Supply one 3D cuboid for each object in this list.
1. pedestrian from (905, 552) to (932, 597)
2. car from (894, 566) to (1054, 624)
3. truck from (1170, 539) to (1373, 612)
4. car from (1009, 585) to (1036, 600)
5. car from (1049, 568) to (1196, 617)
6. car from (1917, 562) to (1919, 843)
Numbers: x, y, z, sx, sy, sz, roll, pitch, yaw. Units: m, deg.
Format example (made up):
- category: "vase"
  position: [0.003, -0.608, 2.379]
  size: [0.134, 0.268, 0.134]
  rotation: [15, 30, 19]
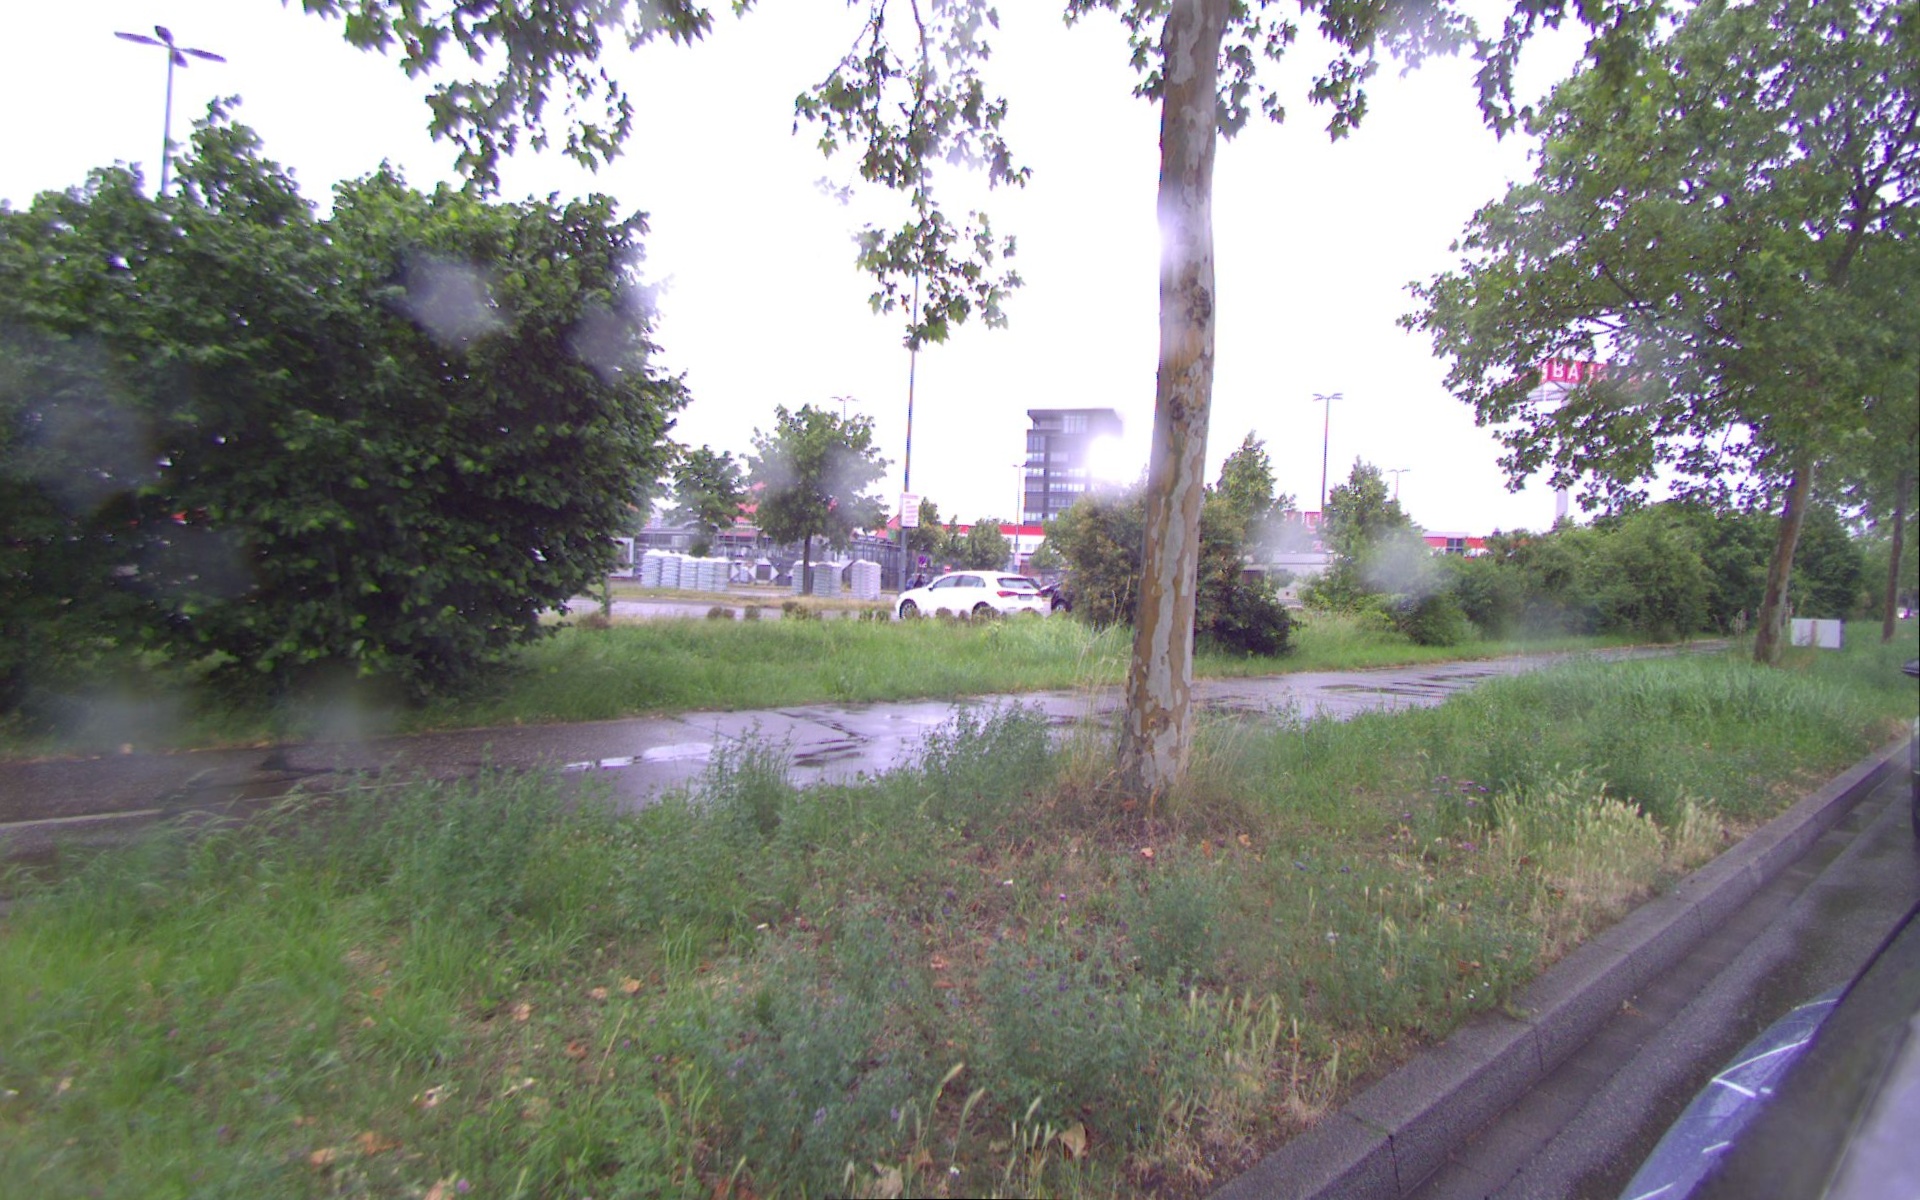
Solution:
- category: "pedestrian"
  position: [-1.711, -1.047, 41.561]
  size: [0.702, 1.810, 0.786]
  rotation: [3, 1, 45]
- category: "car"
  position: [0.299, -0.154, 25.872]
  size: [1.838, 1.382, 3.990]
  rotation: [-1, 1, -44]
- category: "truck"
  position: [10.728, -0.819, 35.331]
  size: [6.530, 2.333, 2.186]
  rotation: [1, 1, 43]
- category: "car"
  position: [5.854, -0.710, 94.641]
  size: [1.834, 1.373, 3.857]
  rotation: [1, 1, 15]
- category: "car"
  position: [4.813, -0.241, 30.253]
  size: [1.967, 1.382, 3.990]
  rotation: [-1, 1, -44]
- category: "car"
  position: [7.918, 0.591, 6.698]
  size: [4.633, 1.635, 1.787]
  rotation: [0, 0, -40]
